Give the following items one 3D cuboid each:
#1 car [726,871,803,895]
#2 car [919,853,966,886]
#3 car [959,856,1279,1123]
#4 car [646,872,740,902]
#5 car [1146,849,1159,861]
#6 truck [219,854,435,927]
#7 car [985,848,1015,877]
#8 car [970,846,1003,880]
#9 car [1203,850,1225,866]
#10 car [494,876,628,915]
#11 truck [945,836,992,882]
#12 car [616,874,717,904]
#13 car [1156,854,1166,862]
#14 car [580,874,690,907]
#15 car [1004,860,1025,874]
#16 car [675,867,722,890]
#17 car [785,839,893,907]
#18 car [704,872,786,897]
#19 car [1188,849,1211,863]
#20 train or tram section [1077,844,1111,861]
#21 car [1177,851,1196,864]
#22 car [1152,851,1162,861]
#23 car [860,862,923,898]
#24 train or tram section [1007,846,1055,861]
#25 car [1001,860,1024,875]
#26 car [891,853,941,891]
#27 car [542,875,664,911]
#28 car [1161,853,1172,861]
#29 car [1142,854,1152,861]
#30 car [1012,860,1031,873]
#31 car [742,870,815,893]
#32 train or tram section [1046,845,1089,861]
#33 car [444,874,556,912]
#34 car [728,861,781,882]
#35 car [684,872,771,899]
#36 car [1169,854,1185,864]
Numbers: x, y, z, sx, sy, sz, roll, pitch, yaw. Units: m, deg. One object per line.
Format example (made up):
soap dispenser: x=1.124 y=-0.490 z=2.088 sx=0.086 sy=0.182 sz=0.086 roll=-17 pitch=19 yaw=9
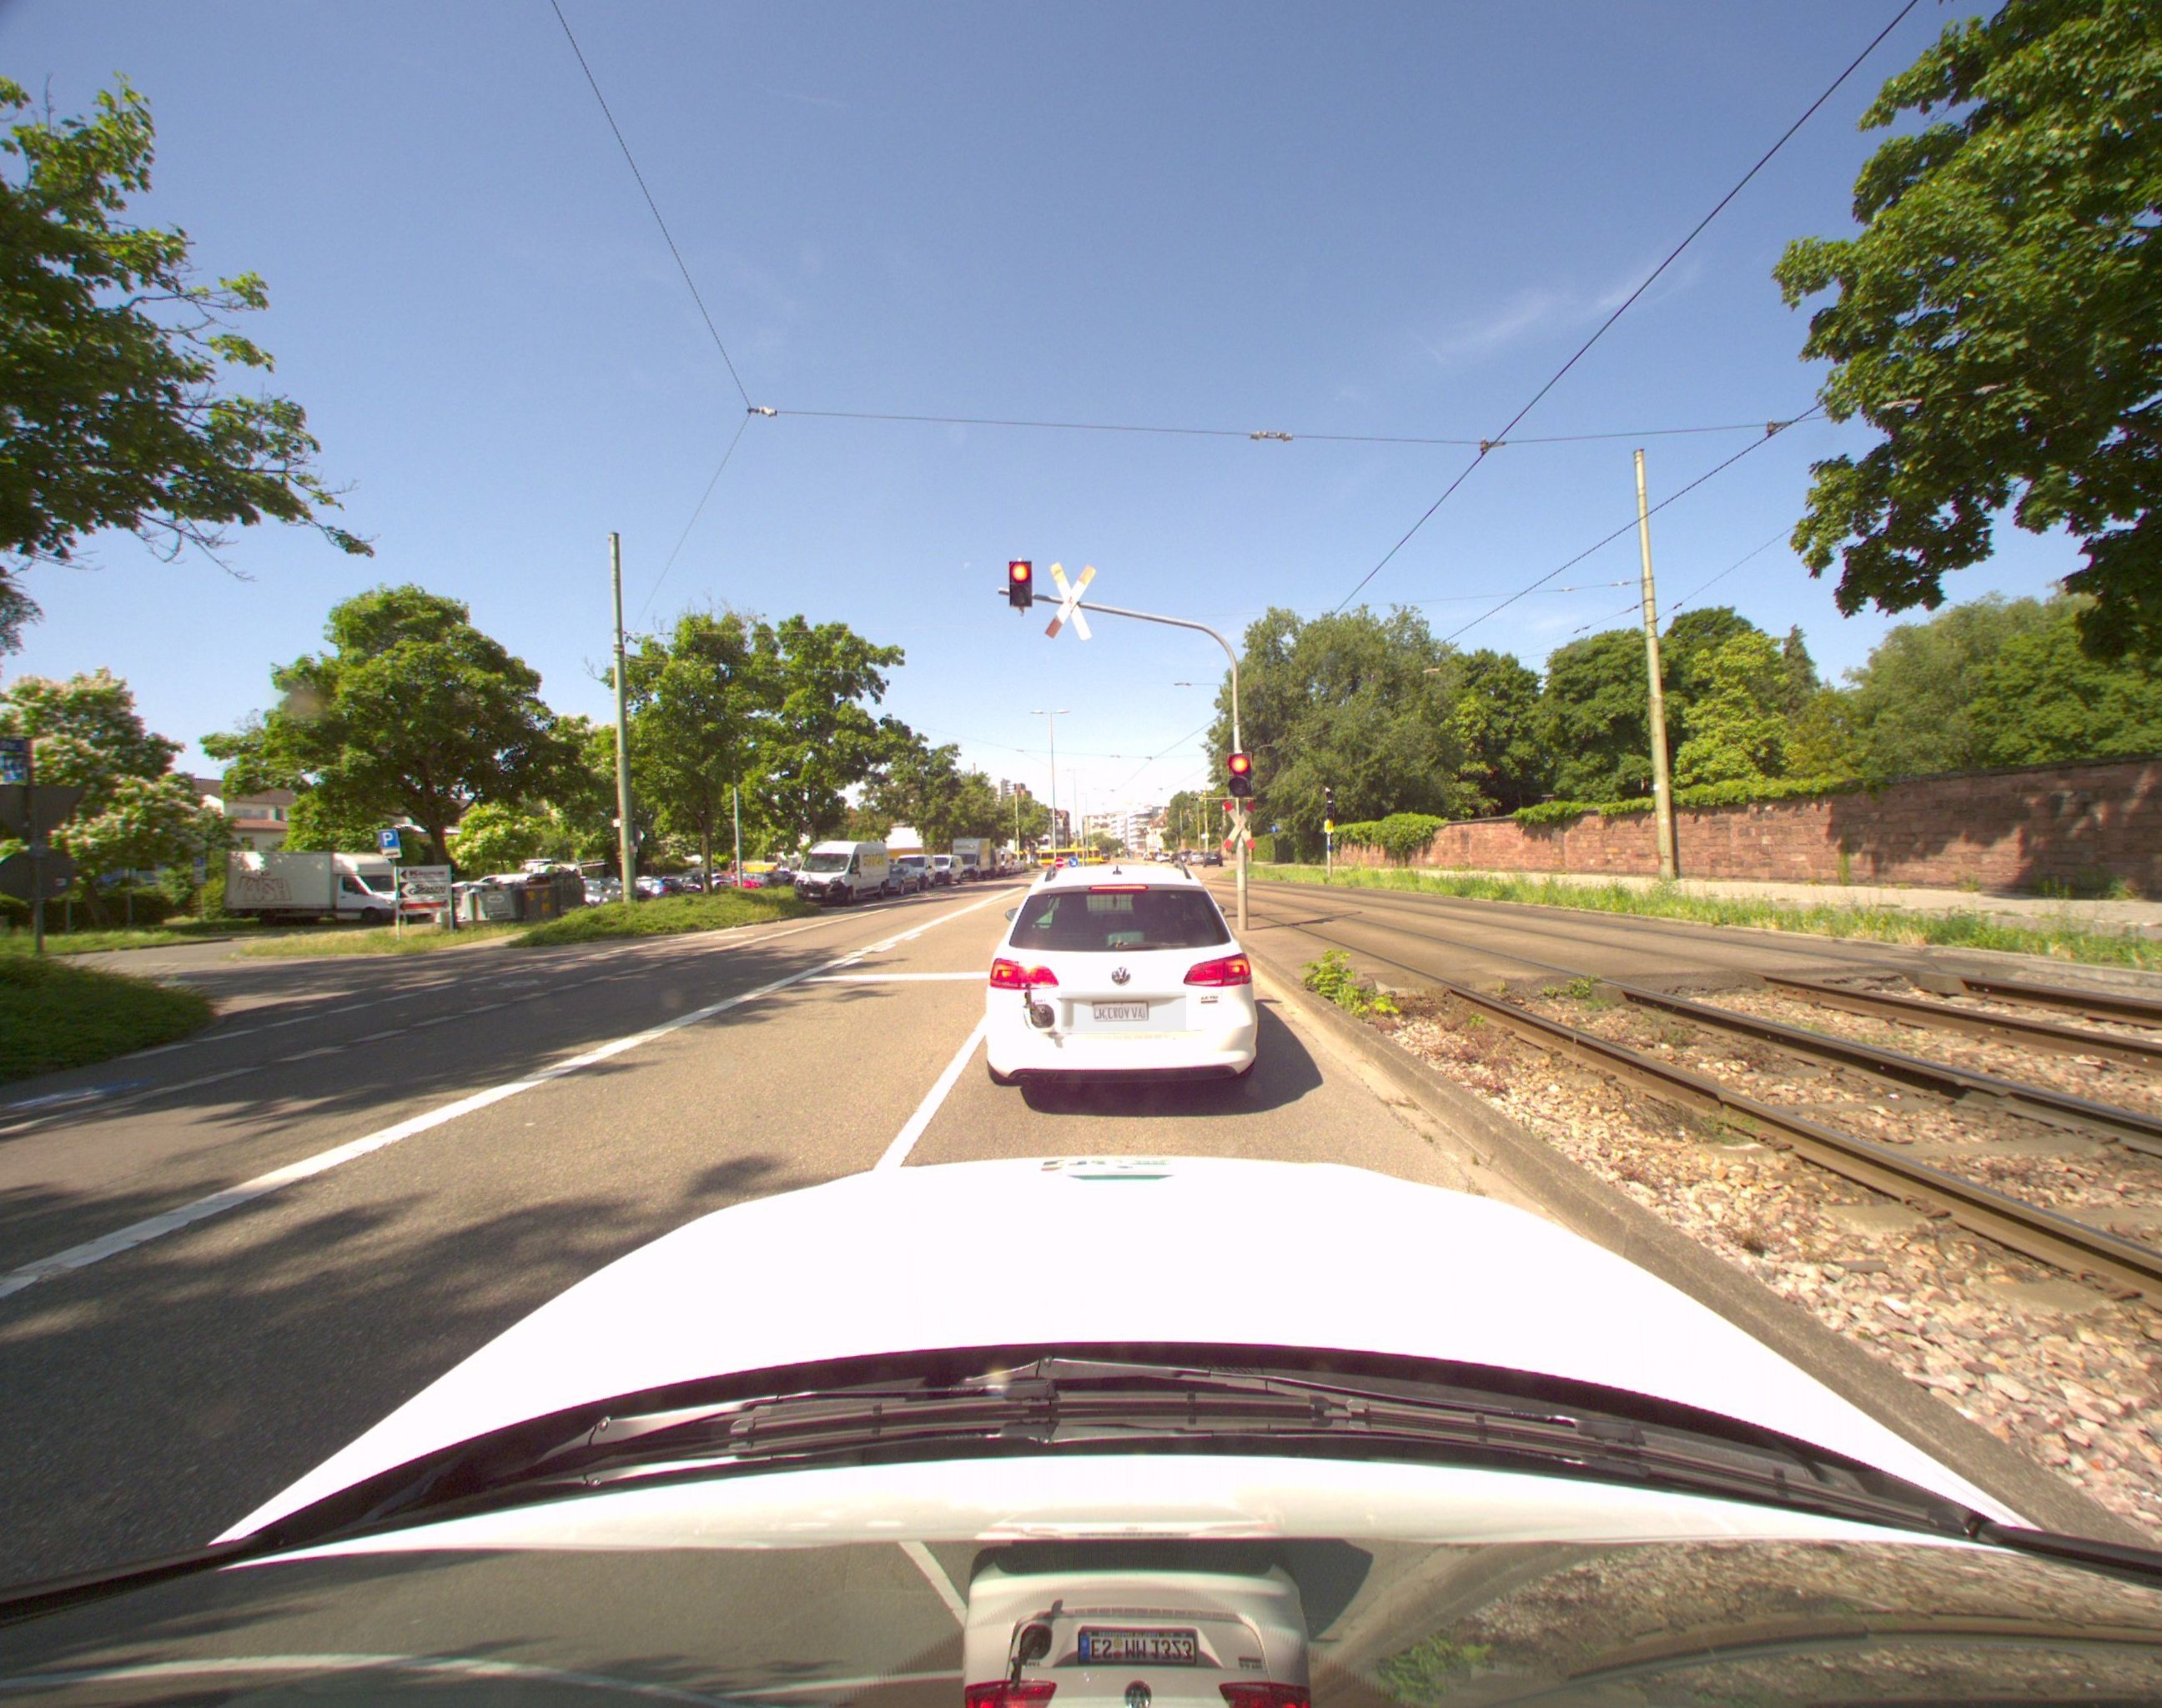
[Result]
car: x=-19.475 y=1.804 z=50.255 sx=3.969 sy=1.225 sz=1.773 roll=-3 pitch=0 yaw=4
car: x=-8.832 y=0.936 z=52.428 sx=1.836 sy=1.960 sz=5.137 roll=-3 pitch=0 yaw=2
car: x=0.247 y=0.753 z=6.457 sx=1.762 sy=1.446 sz=3.914 roll=0 pitch=0 yaw=1
car: x=-20.257 y=1.714 z=42.614 sx=3.969 sy=1.350 sz=1.773 roll=-3 pitch=0 yaw=4
car: x=15.342 y=0.205 z=174.264 sx=2.454 sy=2.499 sz=5.912 roll=0 pitch=-1 yaw=1
truck: x=-32.415 y=1.519 z=35.161 sx=7.119 sy=3.019 sz=2.231 roll=0 pitch=0 yaw=-1
car: x=-7.565 y=0.759 z=76.331 sx=1.836 sy=2.494 sz=5.860 roll=-3 pitch=0 yaw=2
car: x=-7.912 y=0.735 z=68.695 sx=1.836 sy=2.668 sz=5.006 roll=-3 pitch=0 yaw=2
car: x=11.635 y=0.340 z=71.467 sx=1.736 sy=1.388 sz=3.922 roll=-1 pitch=0 yaw=8
car: x=-20.014 y=1.593 z=31.443 sx=3.974 sy=1.225 sz=1.771 roll=-3 pitch=0 yaw=0
truck: x=-8.291 y=0.379 z=60.767 sx=2.348 sy=3.122 sz=6.892 roll=-3 pitch=0 yaw=1
car: x=-20.297 y=1.693 z=39.953 sx=3.969 sy=1.225 sz=1.773 roll=-3 pitch=0 yaw=4
car: x=14.323 y=0.667 z=145.599 sx=1.576 sy=1.346 sz=3.455 roll=0 pitch=-1 yaw=1
car: x=-20.079 y=1.622 z=36.736 sx=3.969 sy=1.225 sz=1.773 roll=-3 pitch=0 yaw=4
car: x=-7.470 y=1.462 z=91.745 sx=1.837 sy=1.433 sz=4.039 roll=-3 pitch=0 yaw=2
car: x=-34.313 y=2.152 z=73.047 sx=3.412 sy=1.876 sz=1.552 roll=-3 pitch=0 yaw=-1
car: x=-9.574 y=0.676 z=32.936 sx=2.049 sy=2.501 sz=6.315 roll=0 pitch=0 yaw=4
car: x=-19.603 y=1.766 z=47.589 sx=3.969 sy=1.225 sz=1.773 roll=-3 pitch=0 yaw=4
car: x=12.602 y=0.209 z=86.921 sx=1.854 sy=1.416 sz=4.325 roll=0 pitch=0 yaw=1
train or tram section: x=2.511 y=-0.291 z=164.526 sx=2.312 sy=3.253 sz=11.184 roll=0 pitch=-1 yaw=-24
car: x=12.948 y=0.404 z=99.924 sx=1.854 sy=1.513 sz=3.914 roll=0 pitch=0 yaw=1
car: x=14.443 y=0.424 z=155.463 sx=1.685 sy=1.812 sz=3.455 roll=0 pitch=-1 yaw=1
car: x=-9.046 y=1.186 z=39.171 sx=1.837 sy=1.516 sz=4.199 roll=-3 pitch=0 yaw=2
train or tram section: x=-10.960 y=-0.062 z=178.815 sx=10.880 sy=3.253 sz=2.322 roll=-1 pitch=-1 yaw=27
car: x=-7.215 y=1.373 z=85.924 sx=1.837 sy=1.433 sz=4.039 roll=-3 pitch=0 yaw=2
car: x=-9.235 y=0.959 z=45.908 sx=1.839 sy=1.937 sz=5.189 roll=-3 pitch=0 yaw=-2
car: x=-19.884 y=1.593 z=33.984 sx=3.974 sy=1.225 sz=1.771 roll=-3 pitch=0 yaw=0
car: x=13.973 y=0.518 z=132.803 sx=1.576 sy=1.346 sz=3.455 roll=0 pitch=-1 yaw=1
car: x=15.277 y=0.716 z=188.718 sx=1.986 sy=1.596 sz=4.002 roll=0 pitch=-1 yaw=2
car: x=-7.079 y=1.436 z=97.070 sx=1.774 sy=1.433 sz=4.039 roll=-3 pitch=0 yaw=2
car: x=-19.504 y=1.765 z=52.545 sx=3.969 sy=1.225 sz=1.773 roll=-3 pitch=0 yaw=4
train or tram section: x=-3.001 y=-0.171 z=172.577 sx=10.672 sy=3.253 sz=2.322 roll=-1 pitch=-1 yaw=44
car: x=-32.272 y=2.120 z=45.334 sx=4.683 sy=2.014 sz=1.997 roll=0 pitch=-1 yaw=-4
car: x=-31.278 y=1.658 z=78.065 sx=4.249 sy=2.014 sz=1.997 roll=0 pitch=-1 yaw=-5
car: x=-19.505 y=1.720 z=45.013 sx=3.969 sy=1.264 sz=1.773 roll=-3 pitch=0 yaw=4
car: x=13.321 y=0.643 z=113.080 sx=1.740 sy=1.407 sz=3.913 roll=0 pitch=0 yaw=1
